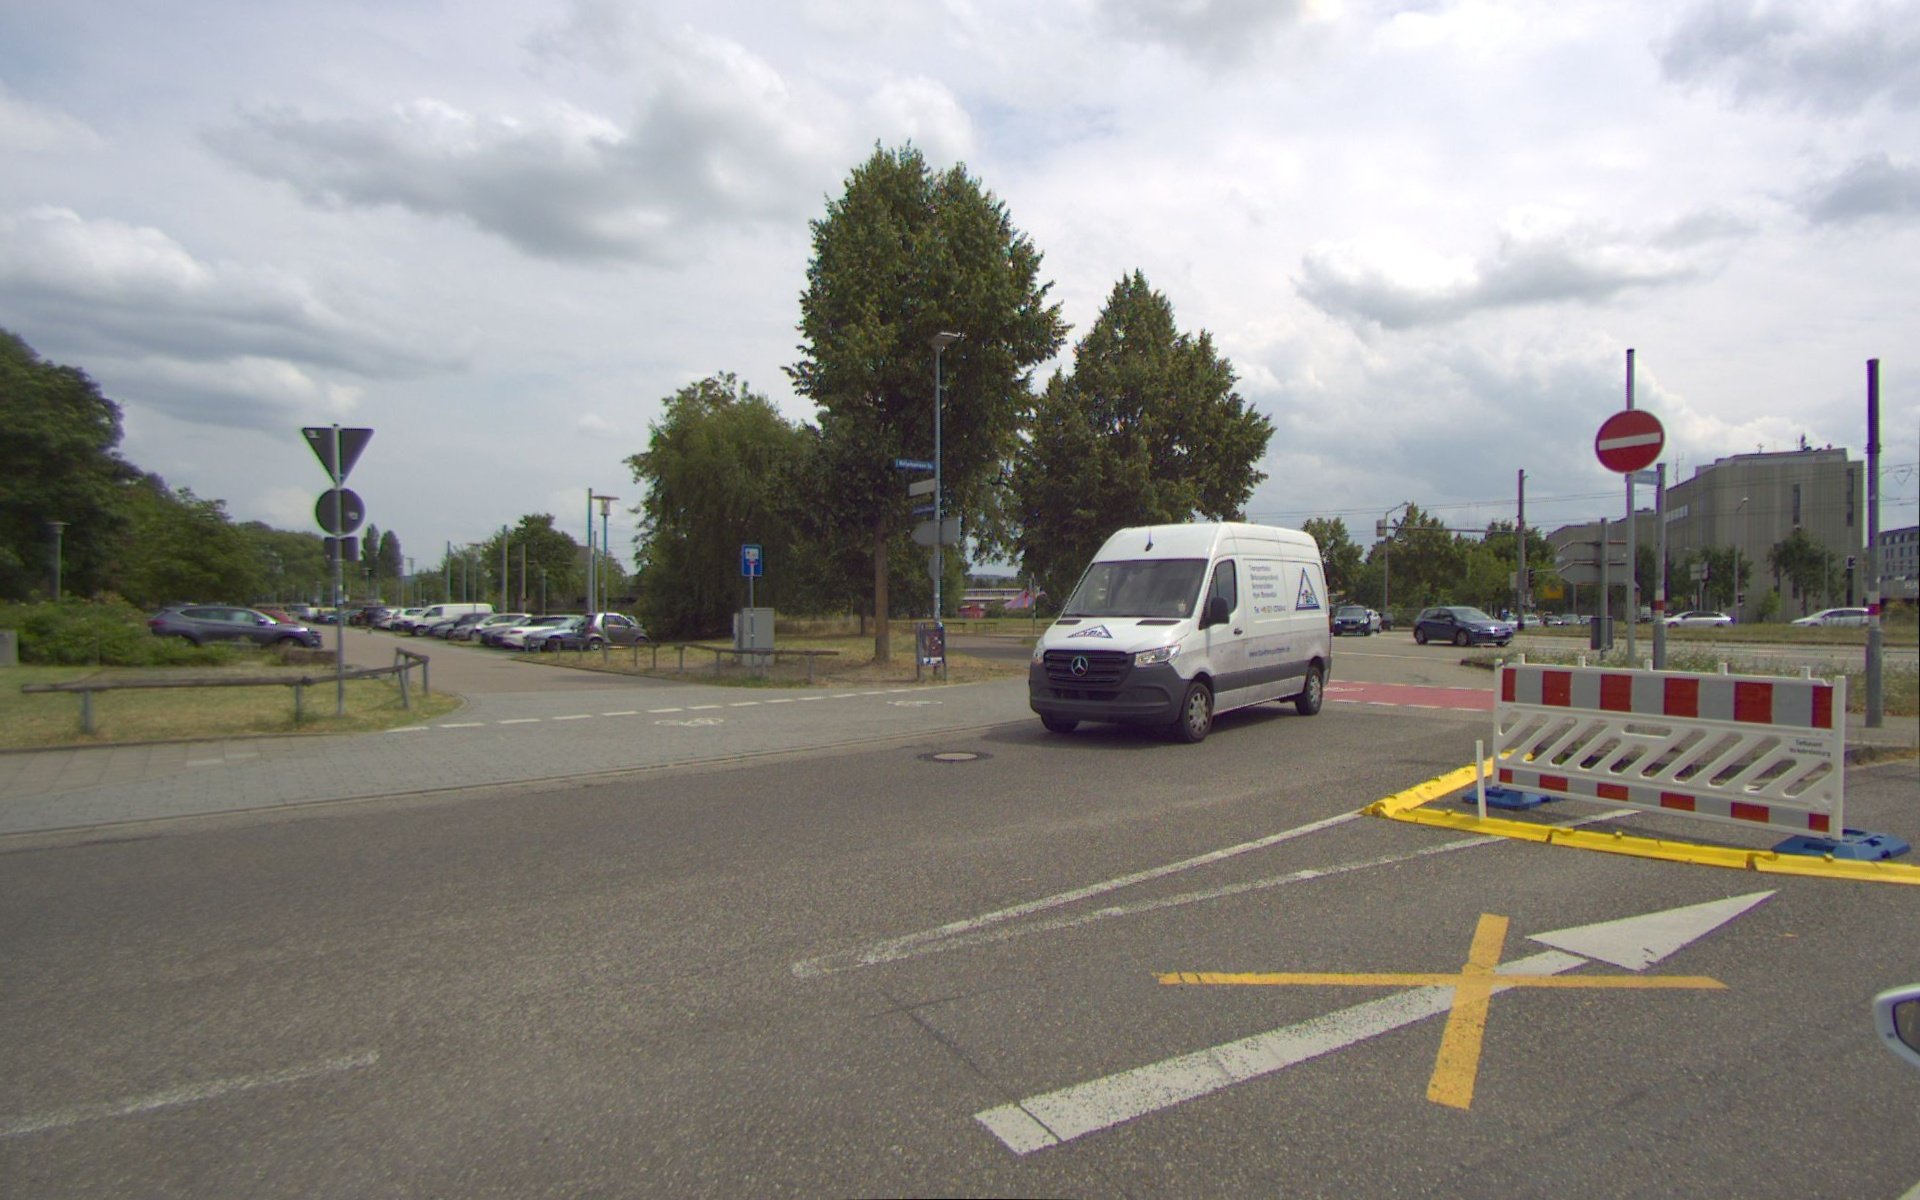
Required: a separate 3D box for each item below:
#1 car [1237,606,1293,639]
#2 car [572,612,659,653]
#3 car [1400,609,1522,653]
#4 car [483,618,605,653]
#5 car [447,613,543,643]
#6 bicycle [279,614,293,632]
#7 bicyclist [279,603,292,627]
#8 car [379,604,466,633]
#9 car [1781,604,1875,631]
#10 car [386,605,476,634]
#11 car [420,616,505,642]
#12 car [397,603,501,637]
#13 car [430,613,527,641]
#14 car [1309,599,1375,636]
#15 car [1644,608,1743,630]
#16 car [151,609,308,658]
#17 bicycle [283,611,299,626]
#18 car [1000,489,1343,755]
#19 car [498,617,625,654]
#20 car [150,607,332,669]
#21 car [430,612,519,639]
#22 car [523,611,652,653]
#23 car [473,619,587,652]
[{"bbox_3d":[14.903,1.062,49.248,1.765,1.517,4.262,0,0,5],"label":"car"},{"bbox_3d":[-13.638,1.269,39.777,2.896,1.442,1.464,-2,0,-44],"label":"car"},{"bbox_3d":[18.798,1.119,37.891,1.774,1.517,4.099,0,0,-19],"label":"car"},{"bbox_3d":[-18.771,1.567,45.438,4.844,1.491,1.814,1,0,-37],"label":"car"},{"bbox_3d":[-24.551,1.456,53.134,4.347,1.491,1.814,1,0,-37],"label":"car"},{"bbox_3d":[-41.742,1.402,62.182,0.595,1.060,1.815,0,0,-30],"label":"bicycle"},{"bbox_3d":[-41.732,0.936,62.159,0.595,1.442,0.797,0,0,-30],"label":"bicyclist"},{"bbox_3d":[-40.287,1.367,75.405,5.519,2.083,2.178,1,0,-37],"label":"car"},{"bbox_3d":[57.338,1.152,66.411,4.268,1.688,1.939,0,0,17],"label":"car"},{"bbox_3d":[-38.716,1.412,73.586,5.519,2.083,2.178,1,0,-37],"label":"car"},{"bbox_3d":[-29.331,1.669,59.239,4.272,1.491,1.814,1,0,-37],"label":"car"},{"bbox_3d":[-32.179,1.250,63.361,5.523,2.083,2.176,1,0,-40],"label":"car"},{"bbox_3d":[-26.350,1.454,55.067,4.562,1.491,1.814,1,0,-37],"label":"car"},{"bbox_3d":[20.484,0.922,54.025,1.756,1.884,4.252,0,0,-2],"label":"car"},{"bbox_3d":[49.911,1.272,68.470,5.080,1.502,2.001,0,0,16],"label":"car"},{"bbox_3d":[-25.625,1.148,35.380,4.365,1.619,1.979,1,0,-37],"label":"car"},{"bbox_3d":[-52.253,1.427,78.449,0.773,1.191,2.203,0,0,-41],"label":"bicycle"},{"bbox_3d":[3.086,0.258,13.286,2.039,2.721,5.945,0,0,38],"label":"car"},{"bbox_3d":[-17.248,1.491,43.613,4.844,1.491,1.814,1,0,-37],"label":"car"},{"bbox_3d":[-22.216,1.125,31.141,4.461,1.788,1.978,1,0,-39],"label":"car"},{"bbox_3d":[-27.646,1.450,57.256,4.272,1.491,1.814,1,0,-37],"label":"car"},{"bbox_3d":[-15.368,1.274,41.609,4.668,1.491,1.812,-2,1,-40],"label":"car"},{"bbox_3d":[-20.174,1.634,47.206,4.666,1.491,1.814,1,0,-37],"label":"car"}]
